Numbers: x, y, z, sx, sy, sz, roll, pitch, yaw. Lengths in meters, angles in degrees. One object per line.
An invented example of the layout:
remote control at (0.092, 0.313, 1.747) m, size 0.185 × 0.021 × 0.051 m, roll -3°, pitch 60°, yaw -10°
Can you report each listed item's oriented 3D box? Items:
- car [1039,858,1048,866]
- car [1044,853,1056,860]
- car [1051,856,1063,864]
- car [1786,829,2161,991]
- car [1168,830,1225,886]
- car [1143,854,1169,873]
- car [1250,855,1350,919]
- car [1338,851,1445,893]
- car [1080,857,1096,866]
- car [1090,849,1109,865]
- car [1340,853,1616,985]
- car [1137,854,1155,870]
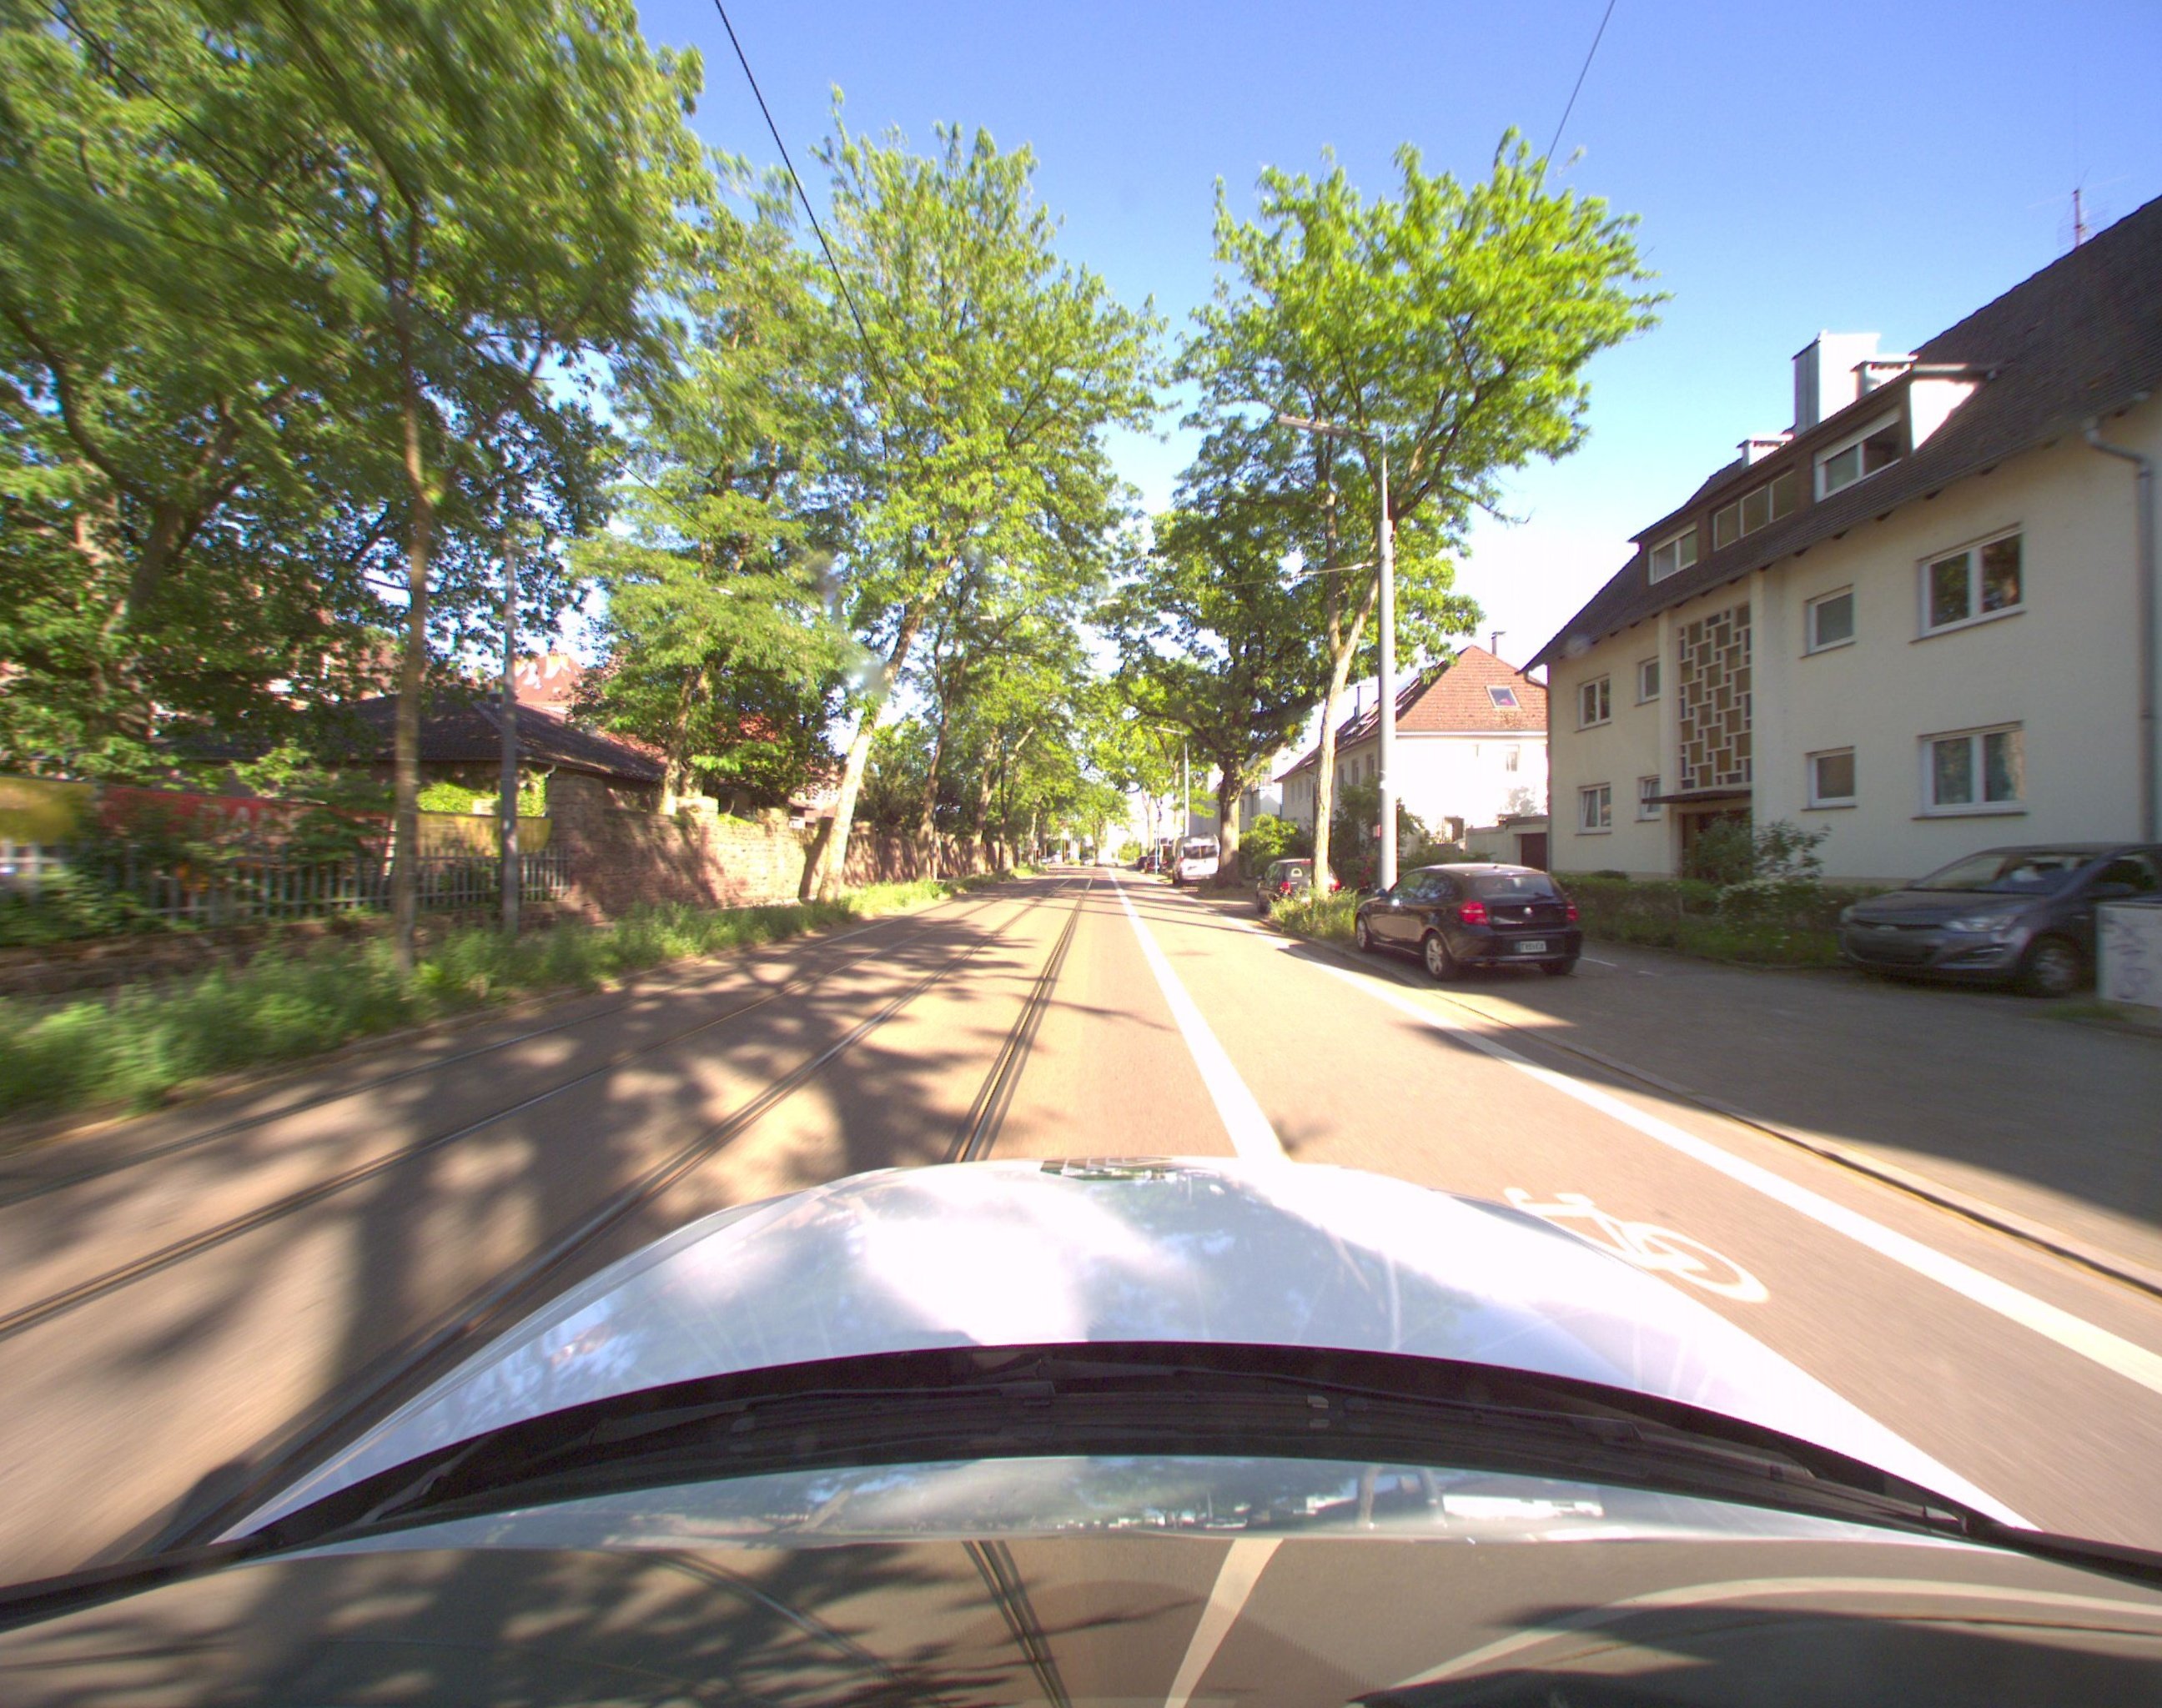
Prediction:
car at (-7.844, 1.747, 170.992) m, size 1.861 × 1.675 × 4.170 m, roll -1°, pitch 0°, yaw -2°
car at (-7.766, 0.610, 202.047) m, size 2.007 × 1.675 × 4.150 m, roll -2°, pitch 0°, yaw -16°
car at (-5.795, 1.463, 196.229) m, size 2.007 × 1.910 × 4.368 m, roll -2°, pitch 0°, yaw -16°
car at (10.149, 0.512, 8.769) m, size 3.731 × 1.489 × 1.737 m, roll -2°, pitch 0°, yaw -4°
car at (5.966, 0.204, 42.794) m, size 2.237 × 2.654 × 5.586 m, roll -2°, pitch 0°, yaw 1°
car at (6.847, 0.849, 74.701) m, size 1.996 × 1.675 × 4.393 m, roll -2°, pitch 0°, yaw 1°
car at (5.524, 0.783, 20.956) m, size 1.621 × 1.397 × 3.646 m, roll -3°, pitch 0°, yaw 1°
car at (11.730, 0.660, 30.850) m, size 3.400 × 1.436 × 1.727 m, roll -2°, pitch 0°, yaw -12°
car at (1.213, 1.395, 146.176) m, size 2.003 × 1.560 × 4.376 m, roll -1°, pitch 0°, yaw -11°
car at (2.917, 0.491, 128.239) m, size 1.995 × 2.458 × 4.491 m, roll -1°, pitch 0°, yaw -11°
car at (5.291, 0.751, 11.602) m, size 1.778 × 1.448 × 4.300 m, roll -3°, pitch 0°, yaw 0°
car at (7.400, 0.876, 92.275) m, size 1.993 × 1.675 × 4.399 m, roll -2°, pitch 0°, yaw 5°
